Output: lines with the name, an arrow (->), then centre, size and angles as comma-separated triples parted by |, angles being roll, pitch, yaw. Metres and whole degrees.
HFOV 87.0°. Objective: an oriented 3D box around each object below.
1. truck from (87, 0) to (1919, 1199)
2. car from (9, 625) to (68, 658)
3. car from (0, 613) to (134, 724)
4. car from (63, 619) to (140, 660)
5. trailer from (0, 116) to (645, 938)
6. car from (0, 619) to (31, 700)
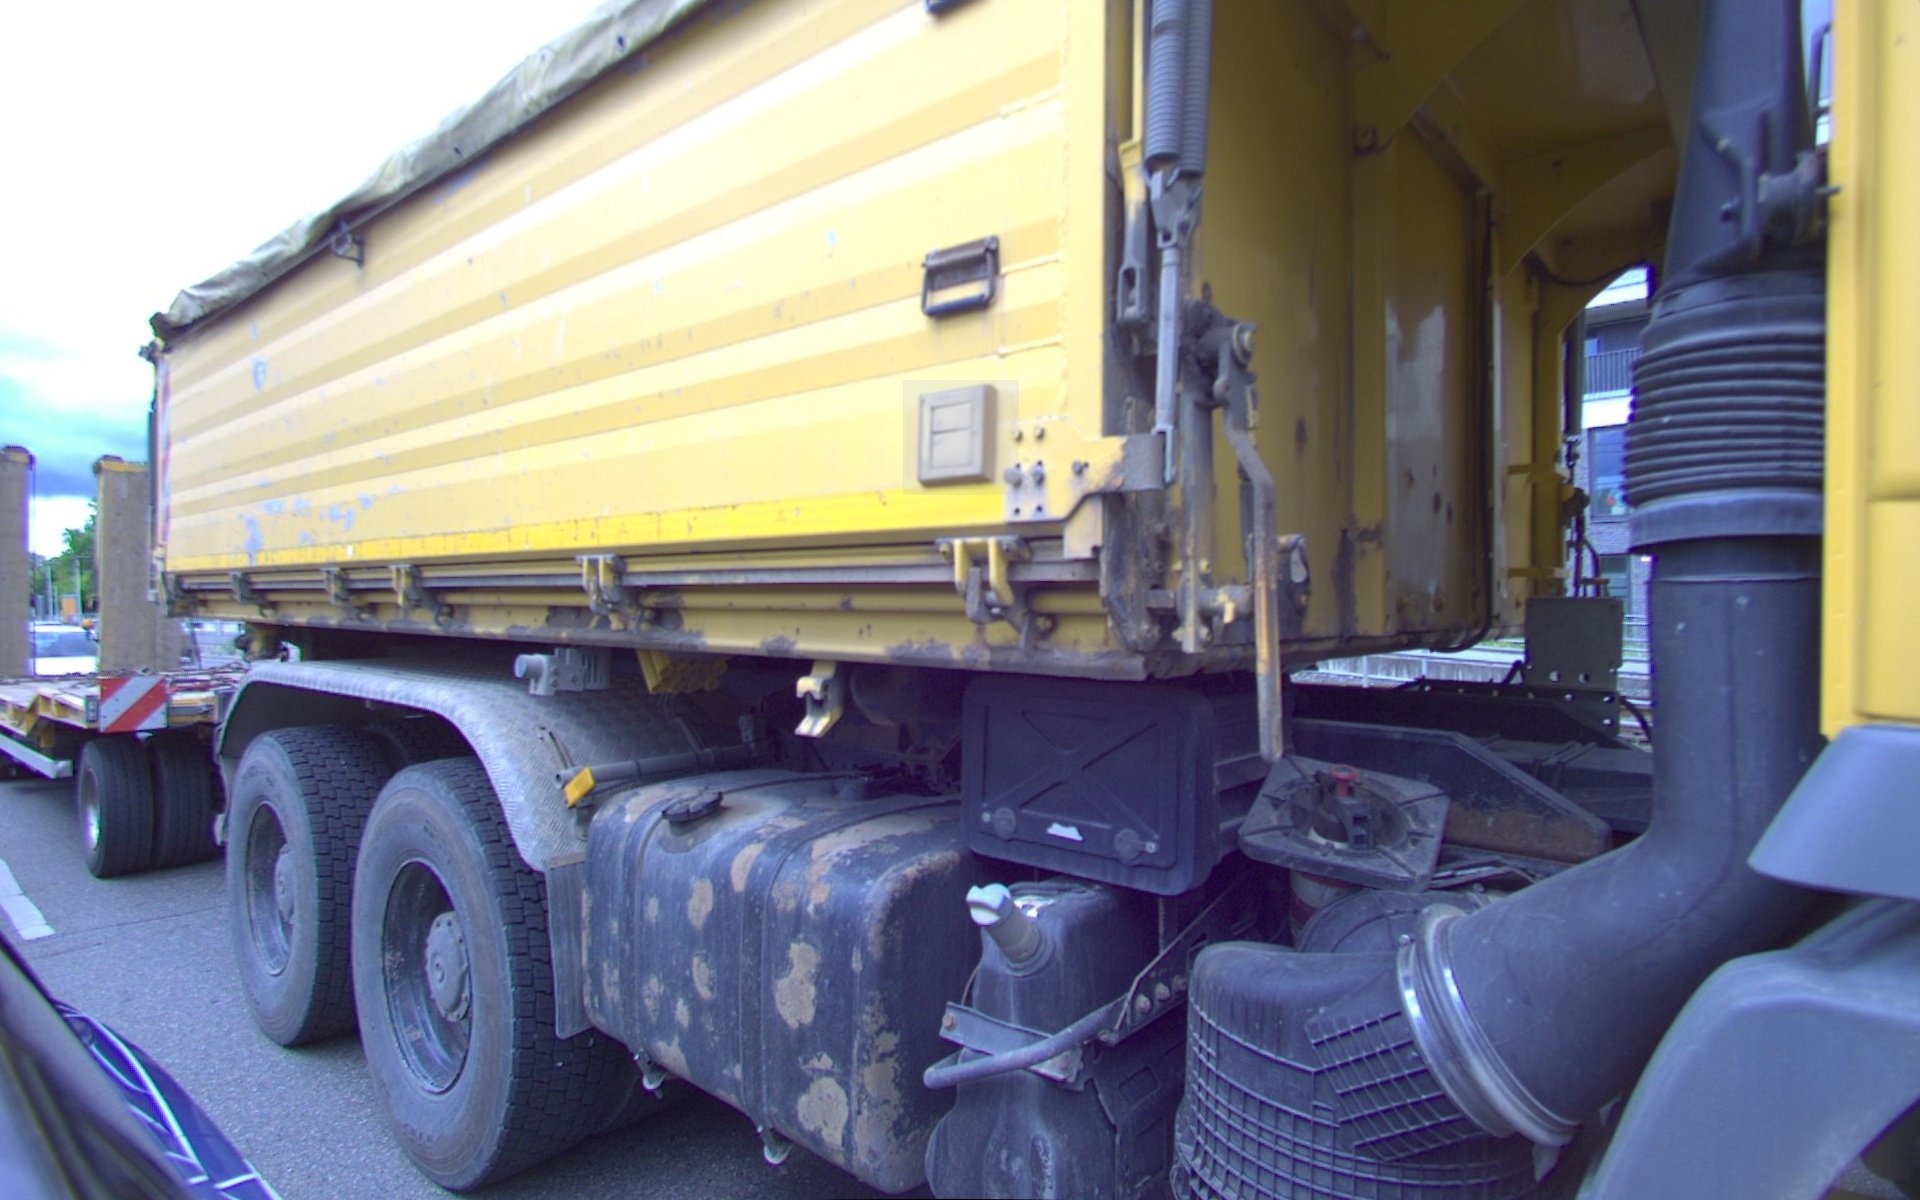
truck -> 0.040, -0.111, 2.823 | 7.775, 3.026, 2.692 | -1, 0, 41
car -> -43.834, 1.969, 48.119 | 4.278, 1.452, 1.742 | -2, -1, 43
car -> -14.294, 0.965, 15.687 | 3.998, 1.490, 1.671 | -1, 0, 41
car -> -33.252, 1.503, 39.169 | 4.042, 1.480, 1.758 | -2, -1, 42
trailer -> -6.983, -0.227, 8.987 | 10.909, 3.548, 2.678 | -2, 0, 41
car -> -19.773, 1.147, 19.989 | 3.998, 1.490, 1.671 | -1, 0, 41
